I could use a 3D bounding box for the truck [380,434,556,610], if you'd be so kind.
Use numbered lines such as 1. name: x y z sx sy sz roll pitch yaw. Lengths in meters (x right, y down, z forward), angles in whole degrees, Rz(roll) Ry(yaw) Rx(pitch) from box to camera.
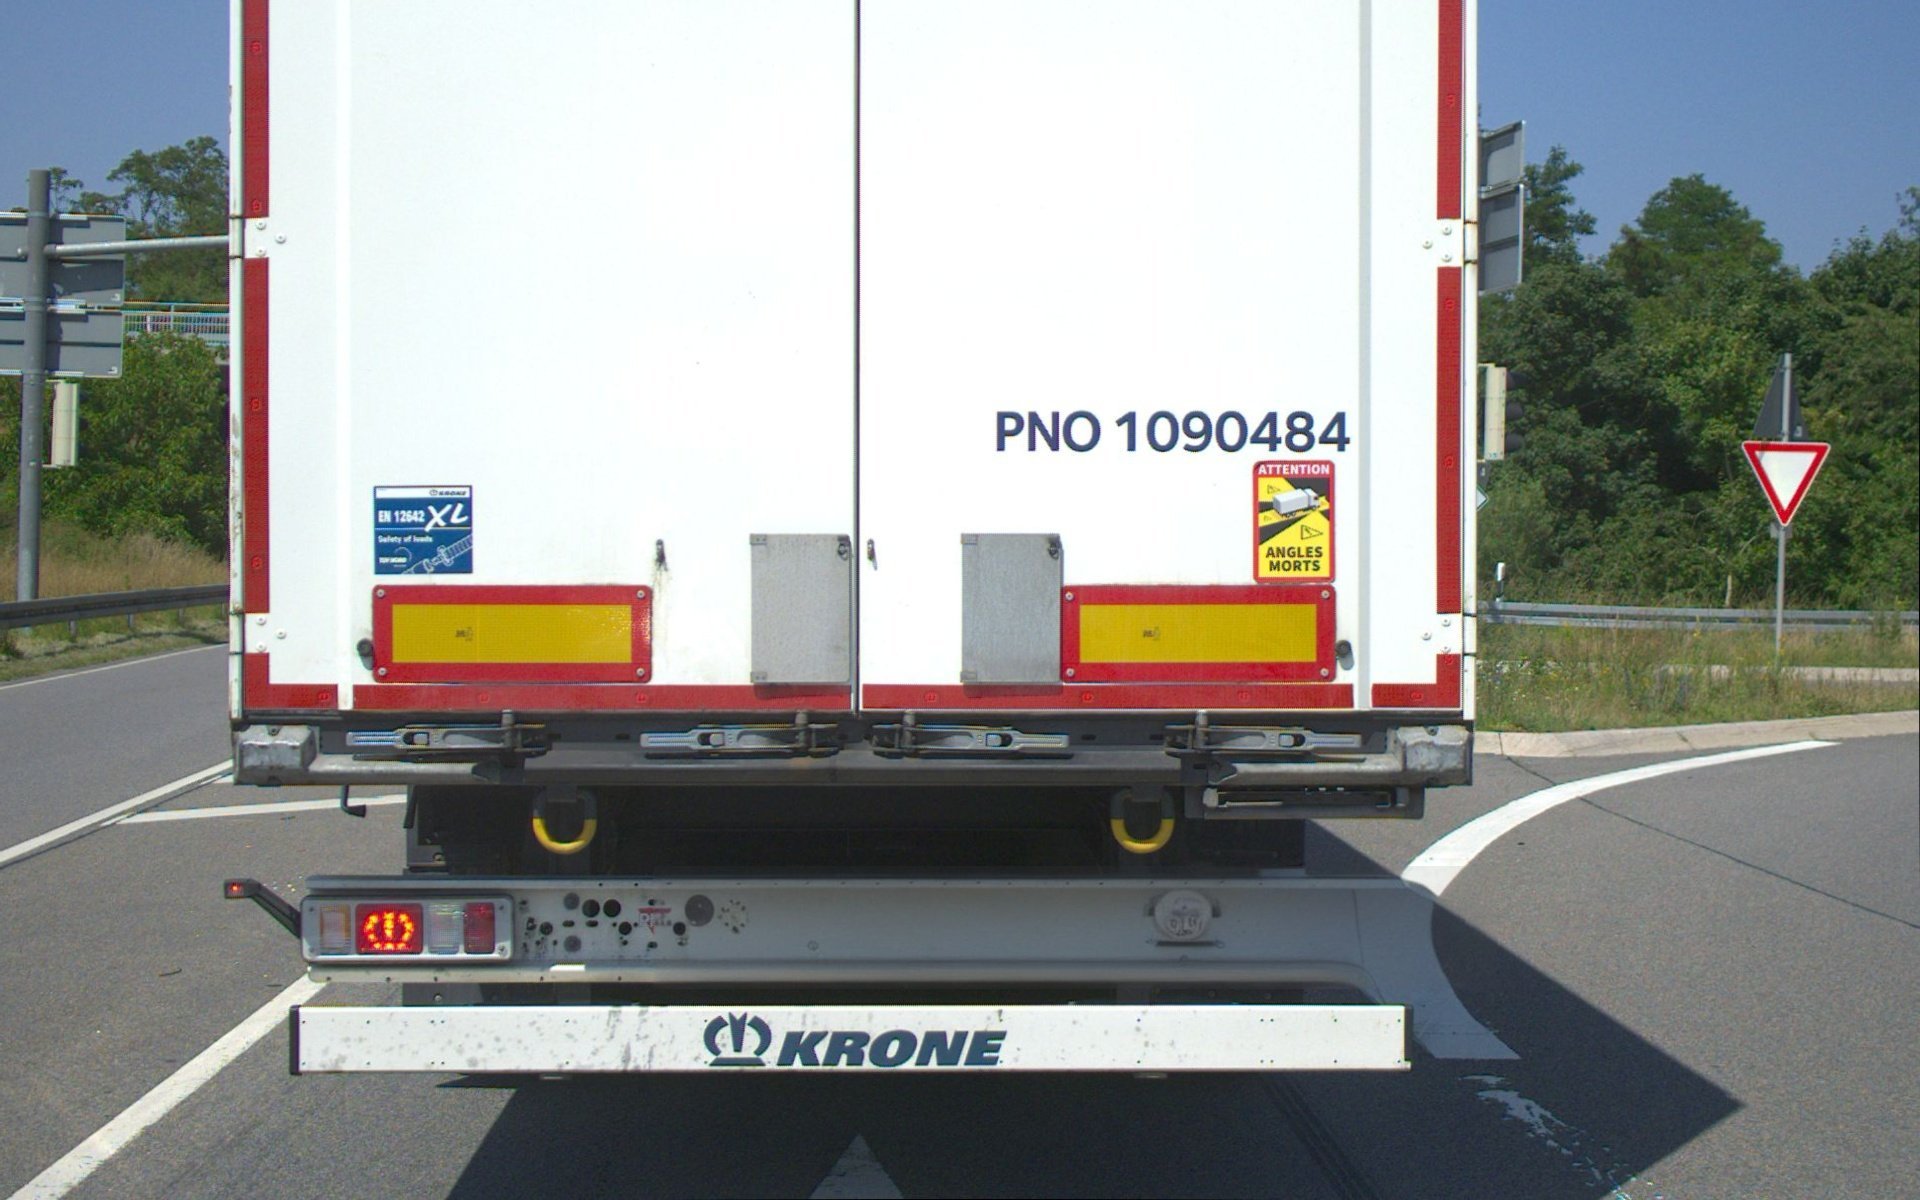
1. truck: -10.347 -1.598 73.020 2.644 3.526 7.890 1 0 -1

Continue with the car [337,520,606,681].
1. car: -5.084 -0.036 36.382 1.762 1.592 4.500 0 1 6

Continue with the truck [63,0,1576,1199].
1. truck: -0.376 -0.658 11.770 2.987 3.928 9.876 1 1 -1
